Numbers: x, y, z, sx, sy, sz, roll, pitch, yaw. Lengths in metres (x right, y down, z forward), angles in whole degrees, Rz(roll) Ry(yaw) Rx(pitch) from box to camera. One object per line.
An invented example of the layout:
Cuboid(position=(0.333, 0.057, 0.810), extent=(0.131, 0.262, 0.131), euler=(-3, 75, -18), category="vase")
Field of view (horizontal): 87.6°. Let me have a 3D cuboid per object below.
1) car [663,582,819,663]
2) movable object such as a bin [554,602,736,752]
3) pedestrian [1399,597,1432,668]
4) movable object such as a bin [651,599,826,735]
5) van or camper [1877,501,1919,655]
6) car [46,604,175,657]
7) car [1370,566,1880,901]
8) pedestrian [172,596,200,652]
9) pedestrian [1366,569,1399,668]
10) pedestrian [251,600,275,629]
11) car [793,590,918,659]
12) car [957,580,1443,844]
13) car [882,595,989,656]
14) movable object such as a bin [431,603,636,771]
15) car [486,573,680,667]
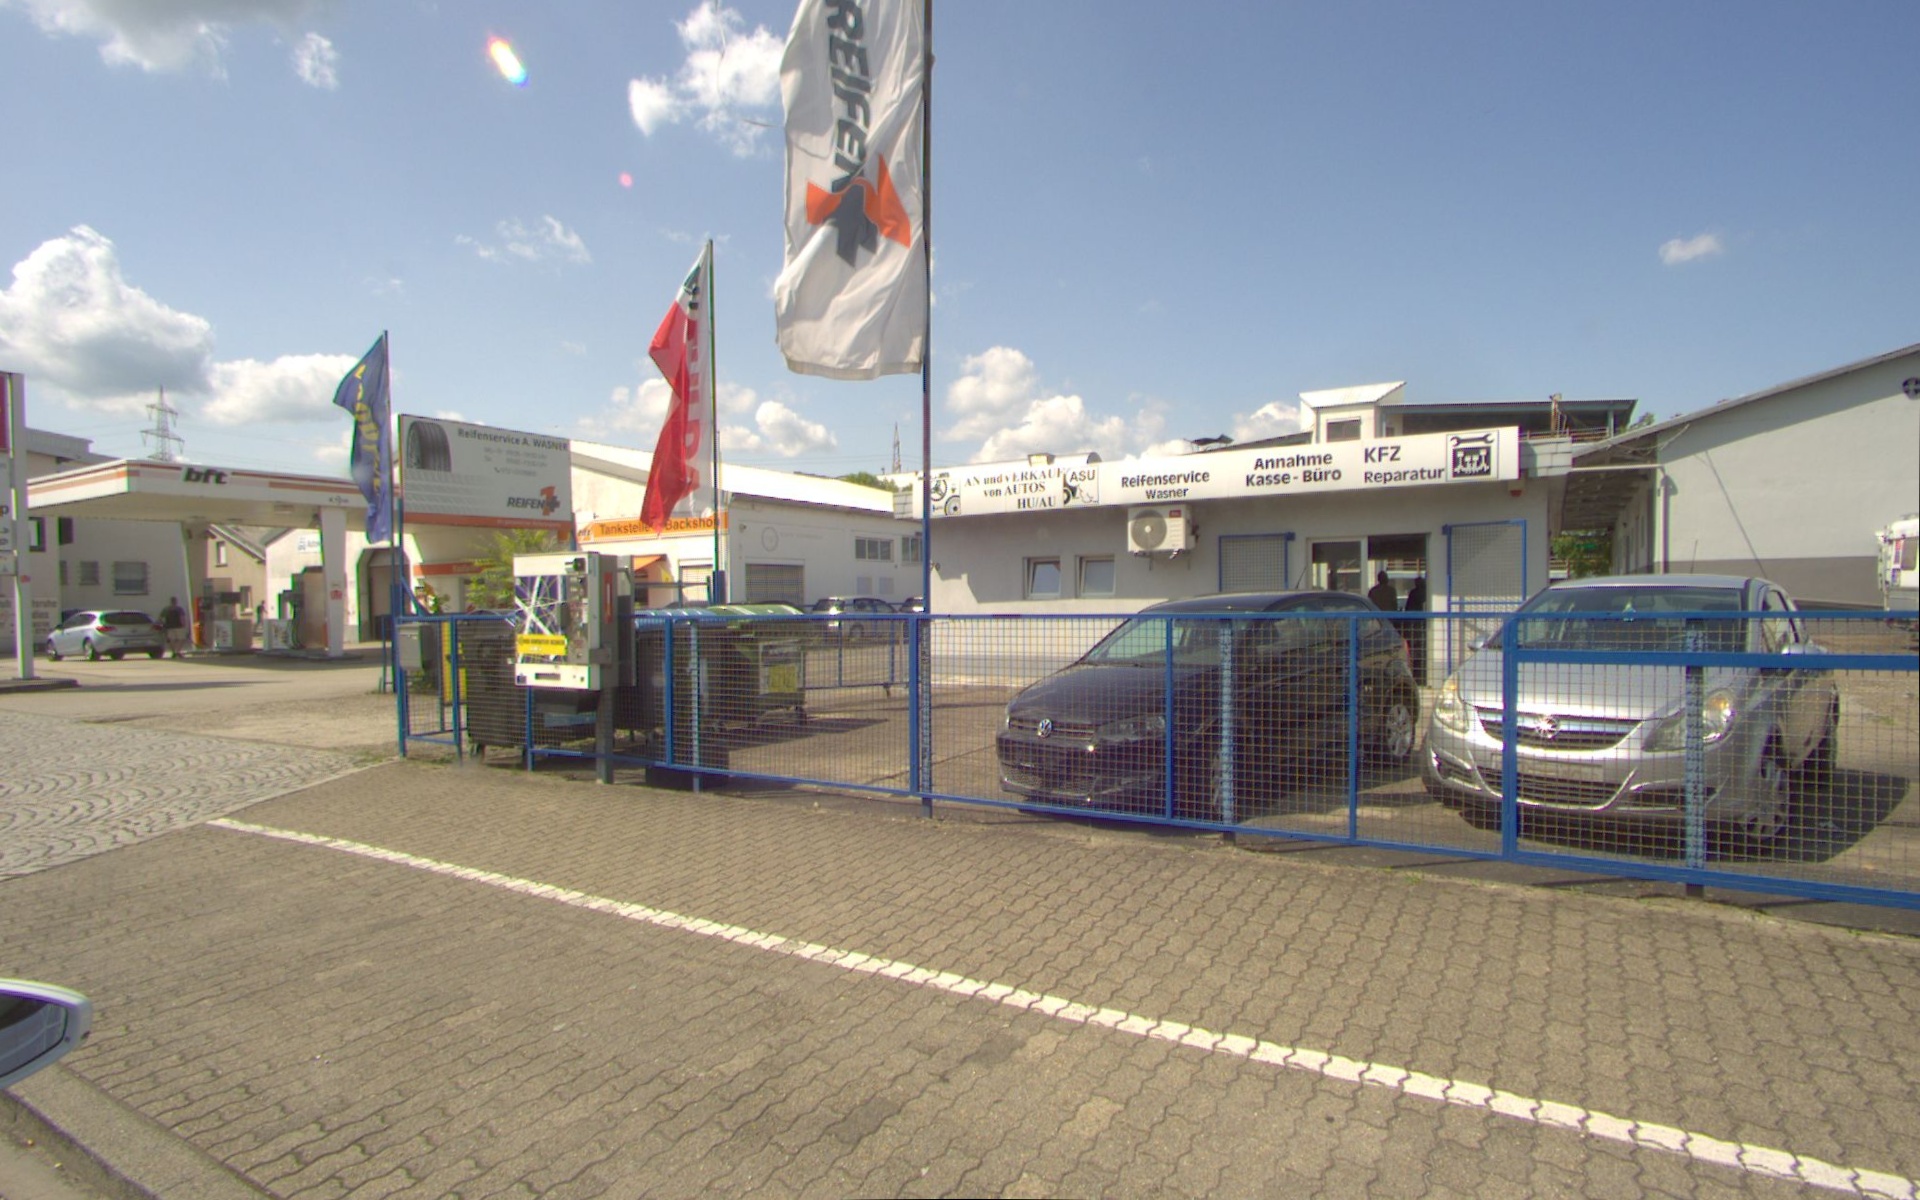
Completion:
Cuboid(position=(-5.952, 0.569, 27.639), extent=(1.971, 2.040, 3.979), euler=(0, 0, 32), category="car")
Cuboid(position=(-3.376, 0.772, 10.788), extent=(1.434, 1.473, 1.224), euler=(0, 1, 31), category="movable object such as a bin")
Cuboid(position=(7.975, 0.559, 17.528), extent=(0.480, 1.229, 0.499), euler=(0, 1, 30), category="pedestrian")
Cuboid(position=(-2.610, 0.740, 11.903), extent=(1.433, 1.473, 1.427), euler=(0, 1, 31), category="movable object such as a bin")
Cuboid(position=(21.343, -0.462, 19.323), extent=(4.983, 3.002, 2.276), euler=(0, 1, 31), category="van or camper")
Cuboid(position=(-25.838, 0.888, 30.438), extent=(3.950, 1.499, 1.829), euler=(-1, 1, 31), category="car")
Cuboid(position=(4.497, 0.584, 6.514), extent=(4.104, 1.499, 1.787), euler=(-1, 0, -42), category="car")
Cuboid(position=(-23.743, 0.728, 30.719), extent=(0.628, 1.705, 0.618), euler=(-1, 1, -36), category="pedestrian")
Cuboid(position=(7.427, 0.323, 17.602), extent=(0.480, 1.710, 0.499), euler=(0, 1, 30), category="pedestrian")
Cuboid(position=(-38.347, 0.812, 55.076), extent=(0.795, 1.592, 0.863), euler=(-1, -2, 35), category="pedestrian")
Cuboid(position=(-3.268, 0.726, 31.990), extent=(1.971, 2.040, 3.979), euler=(0, 0, 32), category="car")
Cuboid(position=(2.010, 0.623, 7.651), extent=(3.962, 1.499, 1.705), euler=(-1, 1, -43), category="car")
Cuboid(position=(-0.808, 0.861, 35.880), extent=(1.971, 2.040, 3.979), euler=(0, 0, 32), category="car")
Cuboid(position=(-4.136, 0.781, 9.748), extent=(1.434, 1.473, 1.224), euler=(0, 1, 31), category="movable object such as a bin")
Cuboid(position=(-8.917, 0.433, 23.985), extent=(1.971, 2.040, 3.979), euler=(0, 0, 32), category="car")
